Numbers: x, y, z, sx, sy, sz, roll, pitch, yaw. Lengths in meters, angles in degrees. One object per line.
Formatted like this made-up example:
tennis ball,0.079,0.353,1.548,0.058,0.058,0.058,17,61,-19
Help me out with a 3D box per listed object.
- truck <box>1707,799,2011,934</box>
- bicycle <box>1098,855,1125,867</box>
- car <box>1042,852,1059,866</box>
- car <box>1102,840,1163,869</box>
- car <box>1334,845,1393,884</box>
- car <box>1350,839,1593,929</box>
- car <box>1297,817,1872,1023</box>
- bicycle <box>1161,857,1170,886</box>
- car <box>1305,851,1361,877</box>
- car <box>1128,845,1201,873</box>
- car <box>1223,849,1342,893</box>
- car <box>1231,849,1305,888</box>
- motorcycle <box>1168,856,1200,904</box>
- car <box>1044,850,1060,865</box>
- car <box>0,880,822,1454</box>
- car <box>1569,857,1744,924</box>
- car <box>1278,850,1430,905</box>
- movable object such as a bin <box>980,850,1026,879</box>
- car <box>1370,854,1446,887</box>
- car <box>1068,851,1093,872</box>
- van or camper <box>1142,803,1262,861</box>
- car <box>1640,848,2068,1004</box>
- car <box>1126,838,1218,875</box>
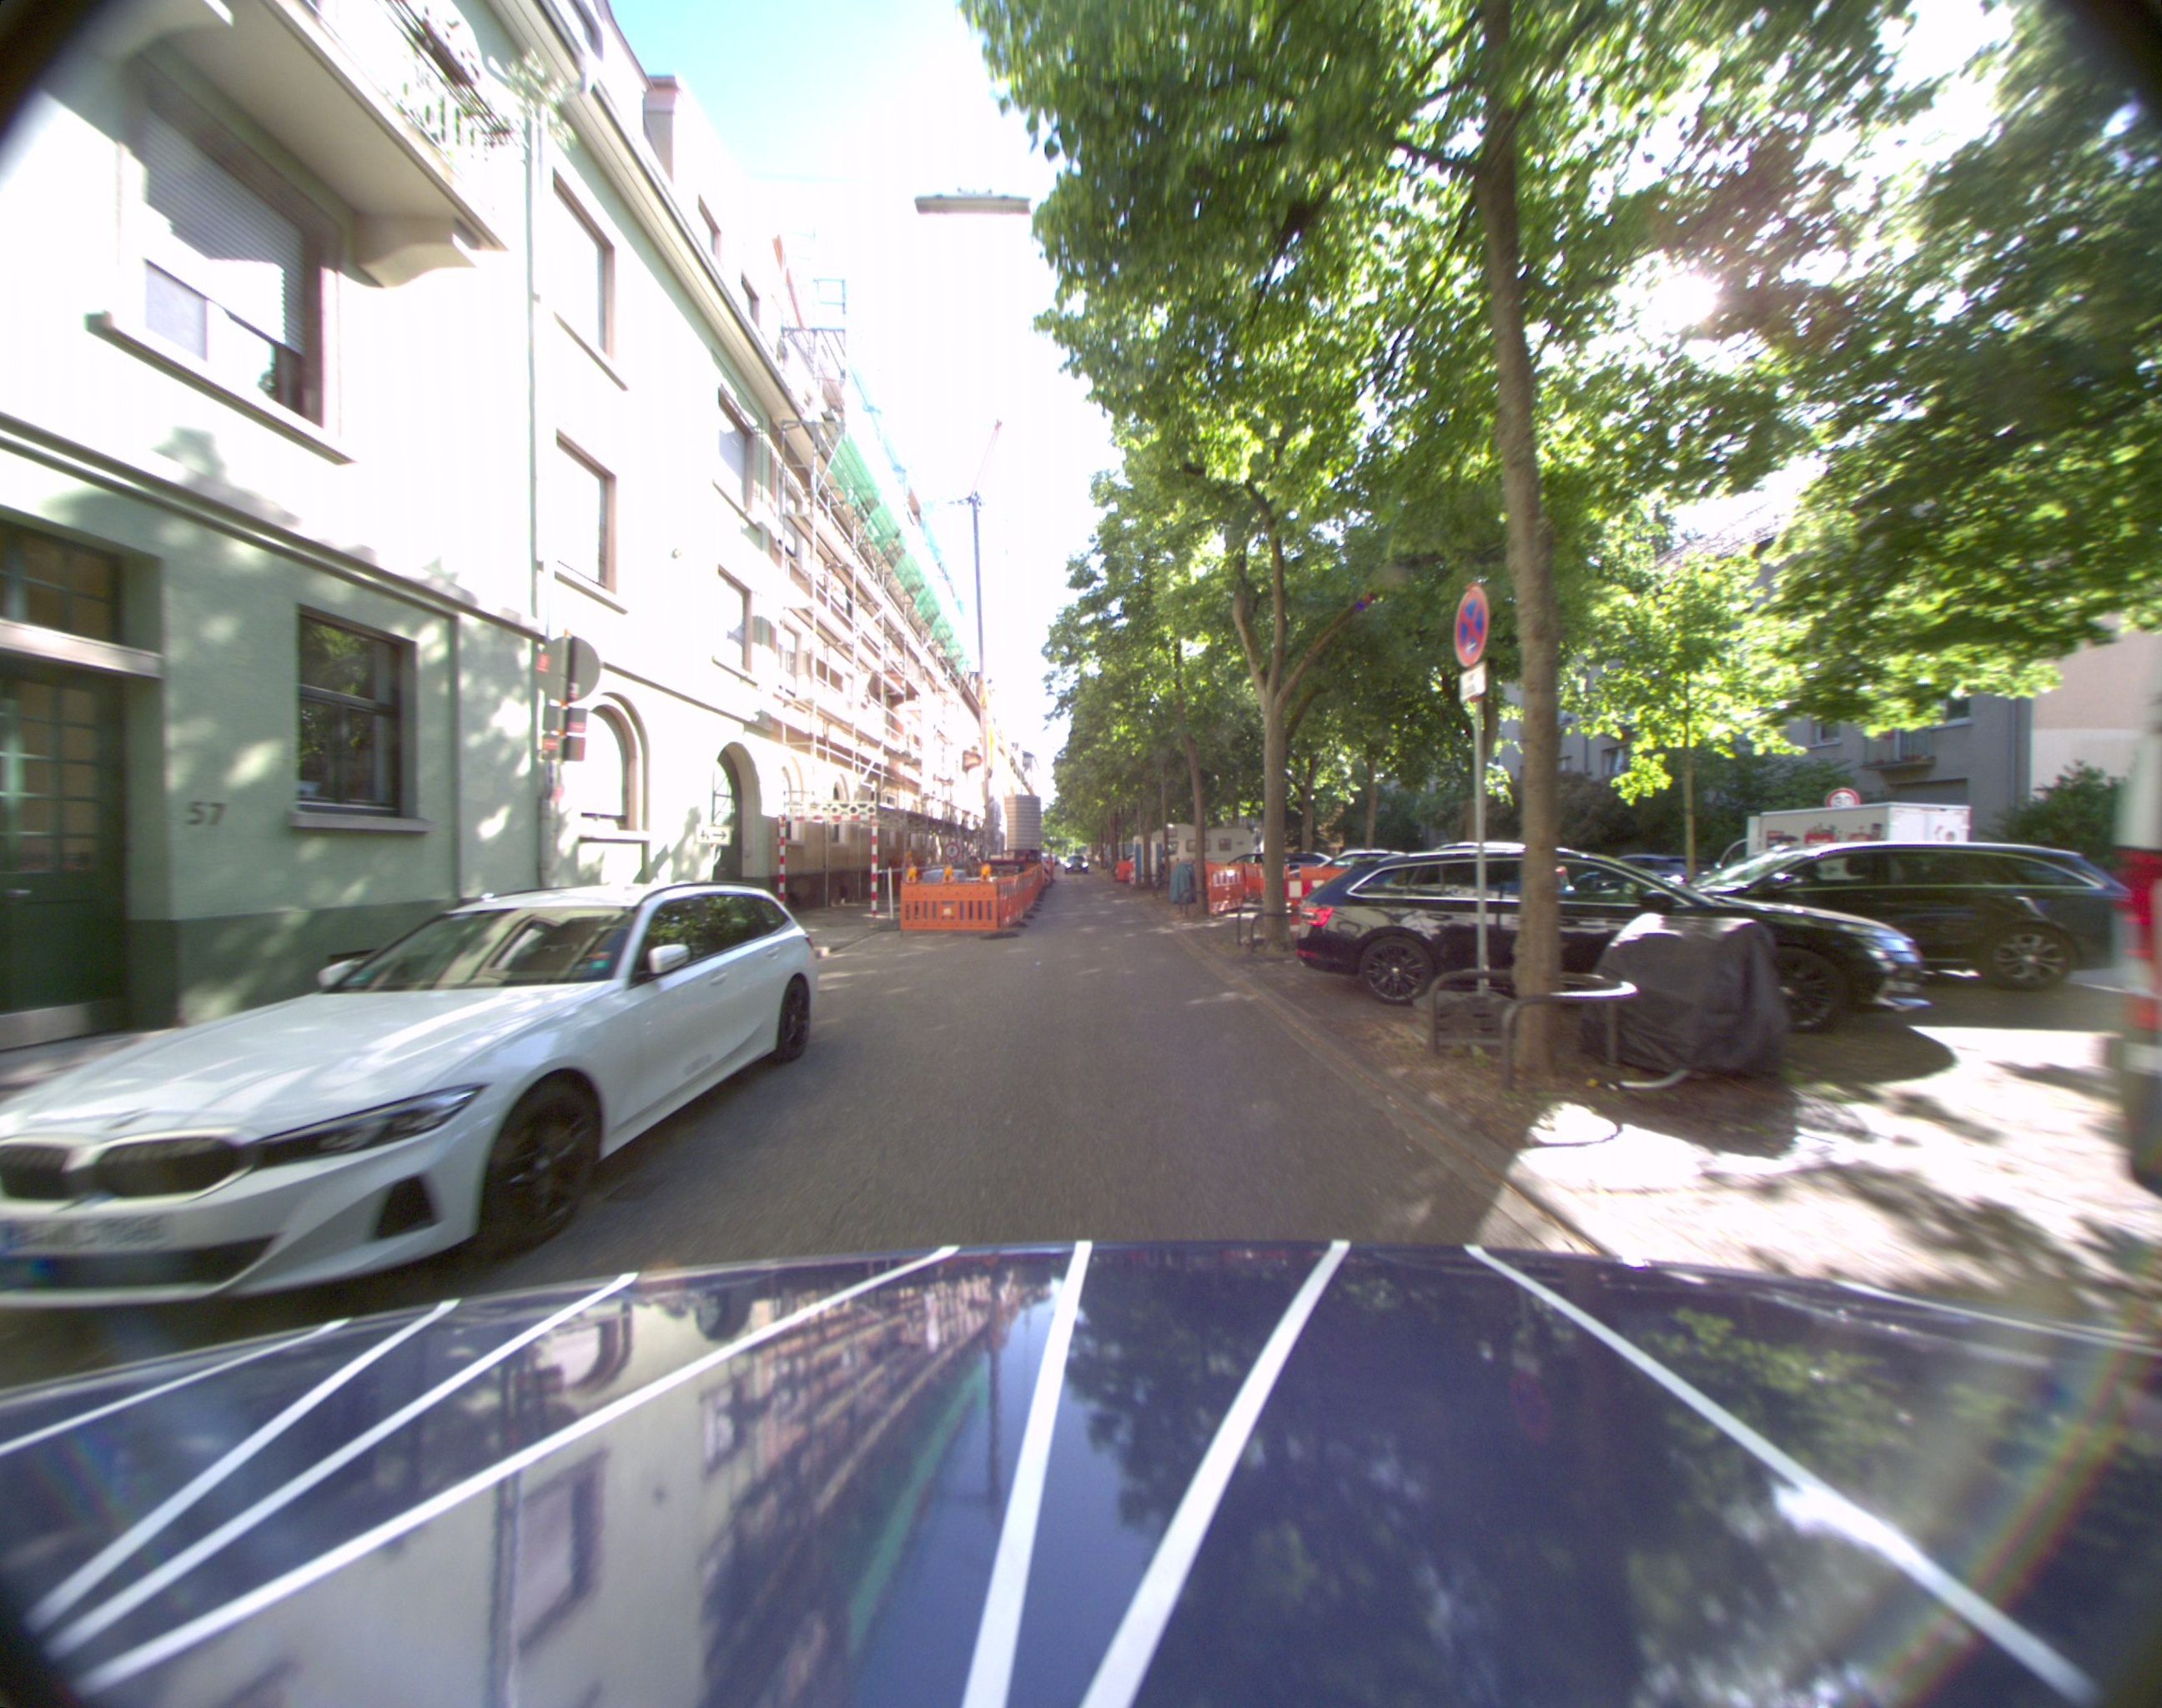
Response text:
truck,15.593,0.214,15.651,1.926,2.395,4.264,1,0,2
bicycle,2.502,0.543,62.506,2.149,0.964,0.609,1,1,6
car,-3.389,0.535,84.555,1.864,1.584,3.999,1,0,-1
car,3.999,0.005,59.448,4.386,2.155,1.774,1,1,27
car,15.182,0.516,41.074,1.625,2.002,4.267,-1,0,1
car,7.671,0.524,15.322,4.123,1.616,1.701,1,1,22
car,4.398,0.603,7.322,4.090,1.516,1.705,-4,-1,30
bicycle,3.466,0.694,31.171,0.281,1.149,1.551,1,1,4
car,15.286,0.571,46.304,1.999,1.477,3.999,1,0,0
car,5.043,0.292,45.756,3.989,1.607,1.800,1,0,25
car,7.521,0.579,28.504,3.988,1.510,1.674,1,1,33
car,8.471,0.613,34.438,2.984,1.707,1.425,1,1,31
motorcycle,3.124,0.759,22.916,0.631,1.317,2.231,-1,1,15
car,-3.370,0.409,89.776,1.864,1.772,3.999,1,0,-1
car,-3.064,0.994,4.355,1.709,1.503,4.283,0,0,0
car,15.388,0.900,20.638,1.625,1.565,4.193,-1,0,1
car,7.713,0.613,21.634,3.904,1.452,1.580,0,1,20
movable object such as a bin,-4.217,0.547,41.119,1.872,1.518,1.631,1,1,34
car,15.117,0.731,35.389,1.723,1.435,4.126,0,0,0
car,0.003,0.540,59.309,1.792,1.510,4.000,-2,0,2
van or camper,6.642,-1.164,41.759,6.017,2.984,2.404,1,1,28
car,7.954,0.659,8.134,2.949,1.444,1.246,0,1,22
car,6.568,0.142,54.982,6.185,2.497,2.143,1,1,27
